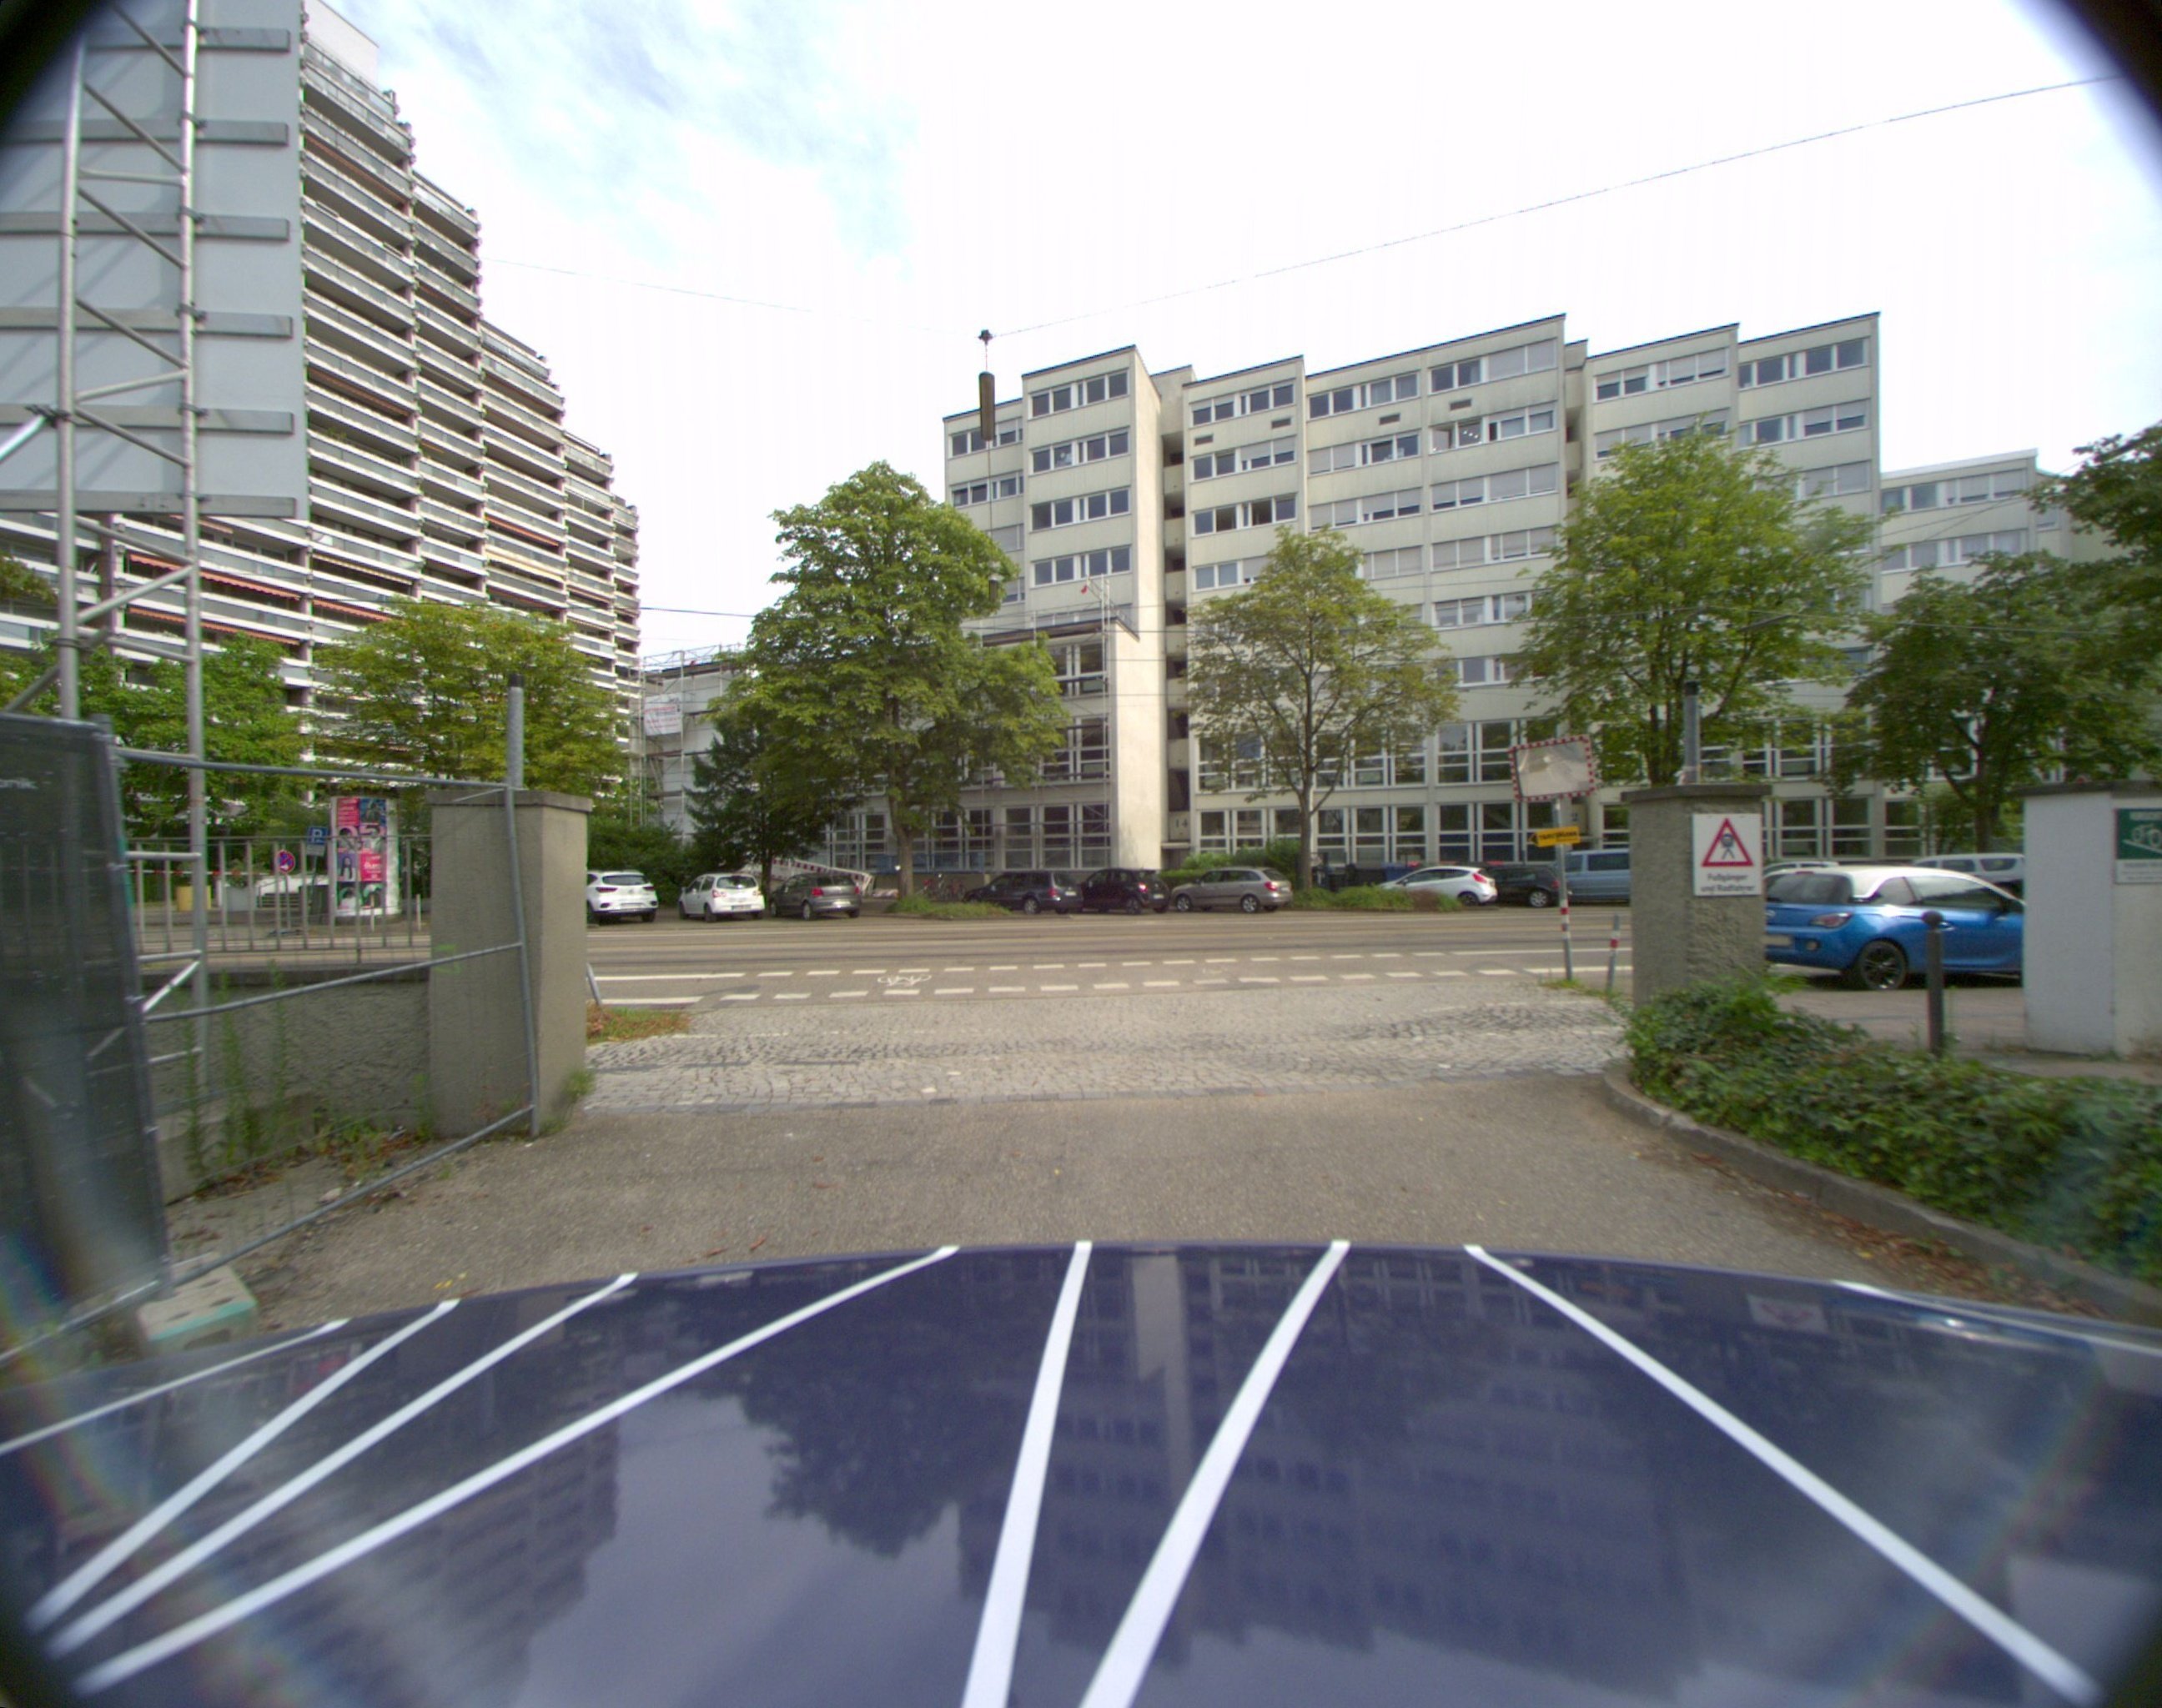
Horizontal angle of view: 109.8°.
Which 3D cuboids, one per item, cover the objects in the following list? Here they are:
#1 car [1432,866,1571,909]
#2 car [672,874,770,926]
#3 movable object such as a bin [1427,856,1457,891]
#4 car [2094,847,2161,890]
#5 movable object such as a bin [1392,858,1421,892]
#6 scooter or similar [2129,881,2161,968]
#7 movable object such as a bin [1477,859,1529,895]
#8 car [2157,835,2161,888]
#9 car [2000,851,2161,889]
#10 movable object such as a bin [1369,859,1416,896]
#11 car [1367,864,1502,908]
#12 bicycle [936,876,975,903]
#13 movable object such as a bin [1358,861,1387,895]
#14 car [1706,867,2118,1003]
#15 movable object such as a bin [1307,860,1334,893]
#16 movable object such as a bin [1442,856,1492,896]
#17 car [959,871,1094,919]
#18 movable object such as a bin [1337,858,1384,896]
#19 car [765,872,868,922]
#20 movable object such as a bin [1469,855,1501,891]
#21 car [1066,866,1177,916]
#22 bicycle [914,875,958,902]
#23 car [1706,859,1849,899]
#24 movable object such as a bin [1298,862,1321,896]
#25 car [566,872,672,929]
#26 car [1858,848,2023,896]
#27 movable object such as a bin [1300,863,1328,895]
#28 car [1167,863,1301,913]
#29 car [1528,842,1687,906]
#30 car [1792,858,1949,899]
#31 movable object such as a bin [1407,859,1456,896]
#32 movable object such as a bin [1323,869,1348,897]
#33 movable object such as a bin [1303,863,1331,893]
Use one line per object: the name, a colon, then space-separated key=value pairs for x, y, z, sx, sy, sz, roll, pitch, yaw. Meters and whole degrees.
car: x=14.595 y=1.145 z=26.479 sx=3.961 sy=1.378 sz=1.819 roll=-2 pitch=-2 yaw=39
car: x=-11.458 y=1.399 z=24.093 sx=1.685 sy=1.466 sz=3.636 roll=-1 pitch=-1 yaw=-44
movable object such as a bin: x=16.464 y=0.897 z=34.663 sx=1.172 sy=1.559 sz=1.182 roll=-1 pitch=0 yaw=23
car: x=41.247 y=0.545 z=28.567 sx=1.770 sy=1.579 sz=3.637 roll=-1 pitch=0 yaw=-31
movable object such as a bin: x=15.047 y=0.958 z=35.155 sx=1.172 sy=1.505 sz=1.182 roll=-1 pitch=0 yaw=23
scooter or similar: x=14.635 y=0.938 z=10.047 sx=0.368 sy=1.160 sz=1.007 roll=-1 pitch=-3 yaw=19
movable object such as a bin: x=17.483 y=0.932 z=31.516 sx=1.399 sy=1.450 sz=1.335 roll=-1 pitch=0 yaw=-1
car: x=44.983 y=0.238 z=28.226 sx=5.424 sy=2.163 sz=2.153 roll=-2 pitch=0 yaw=43
car: x=37.365 y=0.596 z=28.357 sx=3.635 sy=1.322 sz=1.771 roll=-2 pitch=0 yaw=39
movable object such as a bin: x=12.854 y=0.969 z=31.414 sx=1.337 sy=1.495 sz=1.335 roll=-1 pitch=0 yaw=-1
car: x=11.915 y=1.057 z=25.707 sx=3.851 sy=1.384 sz=1.637 roll=-2 pitch=-1 yaw=39
bicycle: x=-5.165 y=1.464 z=31.385 sx=0.593 sy=1.037 sz=1.981 roll=-1 pitch=-1 yaw=23
movable object such as a bin: x=13.766 y=1.139 z=35.861 sx=1.172 sy=1.559 sz=1.182 roll=-1 pitch=0 yaw=23
car: x=10.225 y=0.920 z=9.505 sx=3.601 sy=1.456 sz=1.633 roll=-1 pitch=-1 yaw=-6
movable object such as a bin: x=11.384 y=1.059 z=36.162 sx=1.177 sy=1.559 sz=1.176 roll=-1 pitch=0 yaw=16
movable object such as a bin: x=15.936 y=0.886 z=31.406 sx=1.353 sy=1.586 sz=1.335 roll=-1 pitch=0 yaw=-1
car: x=-1.828 y=1.299 z=24.890 sx=4.158 sy=1.407 sz=1.820 roll=-2 pitch=0 yaw=36
movable object such as a bin: x=11.428 y=0.940 z=31.144 sx=1.415 sy=1.520 sz=1.330 roll=-1 pitch=0 yaw=-1
car: x=-8.473 y=1.321 z=24.182 sx=1.685 sy=1.411 sz=3.636 roll=-1 pitch=-1 yaw=-44
movable object such as a bin: x=18.037 y=0.841 z=33.950 sx=1.172 sy=1.559 sz=1.182 roll=-1 pitch=0 yaw=23
car: x=1.318 y=1.206 z=25.393 sx=3.408 sy=1.528 sz=1.599 roll=-2 pitch=-1 yaw=42
bicycle: x=-6.034 y=1.431 z=31.639 sx=0.593 sy=1.037 sz=1.982 roll=-1 pitch=-1 yaw=32
car: x=24.745 y=0.880 z=27.181 sx=3.635 sy=1.322 sz=1.771 roll=-2 pitch=0 yaw=39
movable object such as a bin: x=9.742 y=1.059 z=32.457 sx=0.910 sy=1.398 sz=1.026 roll=-1 pitch=0 yaw=16
car: x=-14.376 y=1.385 z=23.569 sx=3.636 sy=1.593 sz=1.686 roll=-2 pitch=0 yaw=40
car: x=30.812 y=0.638 z=27.419 sx=3.760 sy=1.608 sz=1.818 roll=-2 pitch=0 yaw=43
movable object such as a bin: x=10.306 y=1.094 z=33.668 sx=1.116 sy=1.383 sz=1.065 roll=-1 pitch=0 yaw=16
car: x=5.028 y=1.109 z=25.287 sx=4.041 sy=1.528 sz=1.599 roll=-2 pitch=-1 yaw=39
car: x=18.194 y=0.682 z=26.343 sx=4.334 sy=2.051 sz=2.004 roll=-1 pitch=-1 yaw=39
car: x=27.934 y=0.852 z=27.068 sx=3.760 sy=1.331 sz=1.818 roll=-2 pitch=-1 yaw=43
movable object such as a bin: x=14.459 y=0.966 z=31.381 sx=1.353 sy=1.493 sz=1.335 roll=-1 pitch=0 yaw=-1
movable object such as a bin: x=10.278 y=1.164 z=30.737 sx=0.742 sy=1.099 sz=0.786 roll=-1 pitch=0 yaw=1
movable object such as a bin: x=10.832 y=1.102 z=34.901 sx=1.177 sy=1.362 sz=1.176 roll=-1 pitch=0 yaw=16
